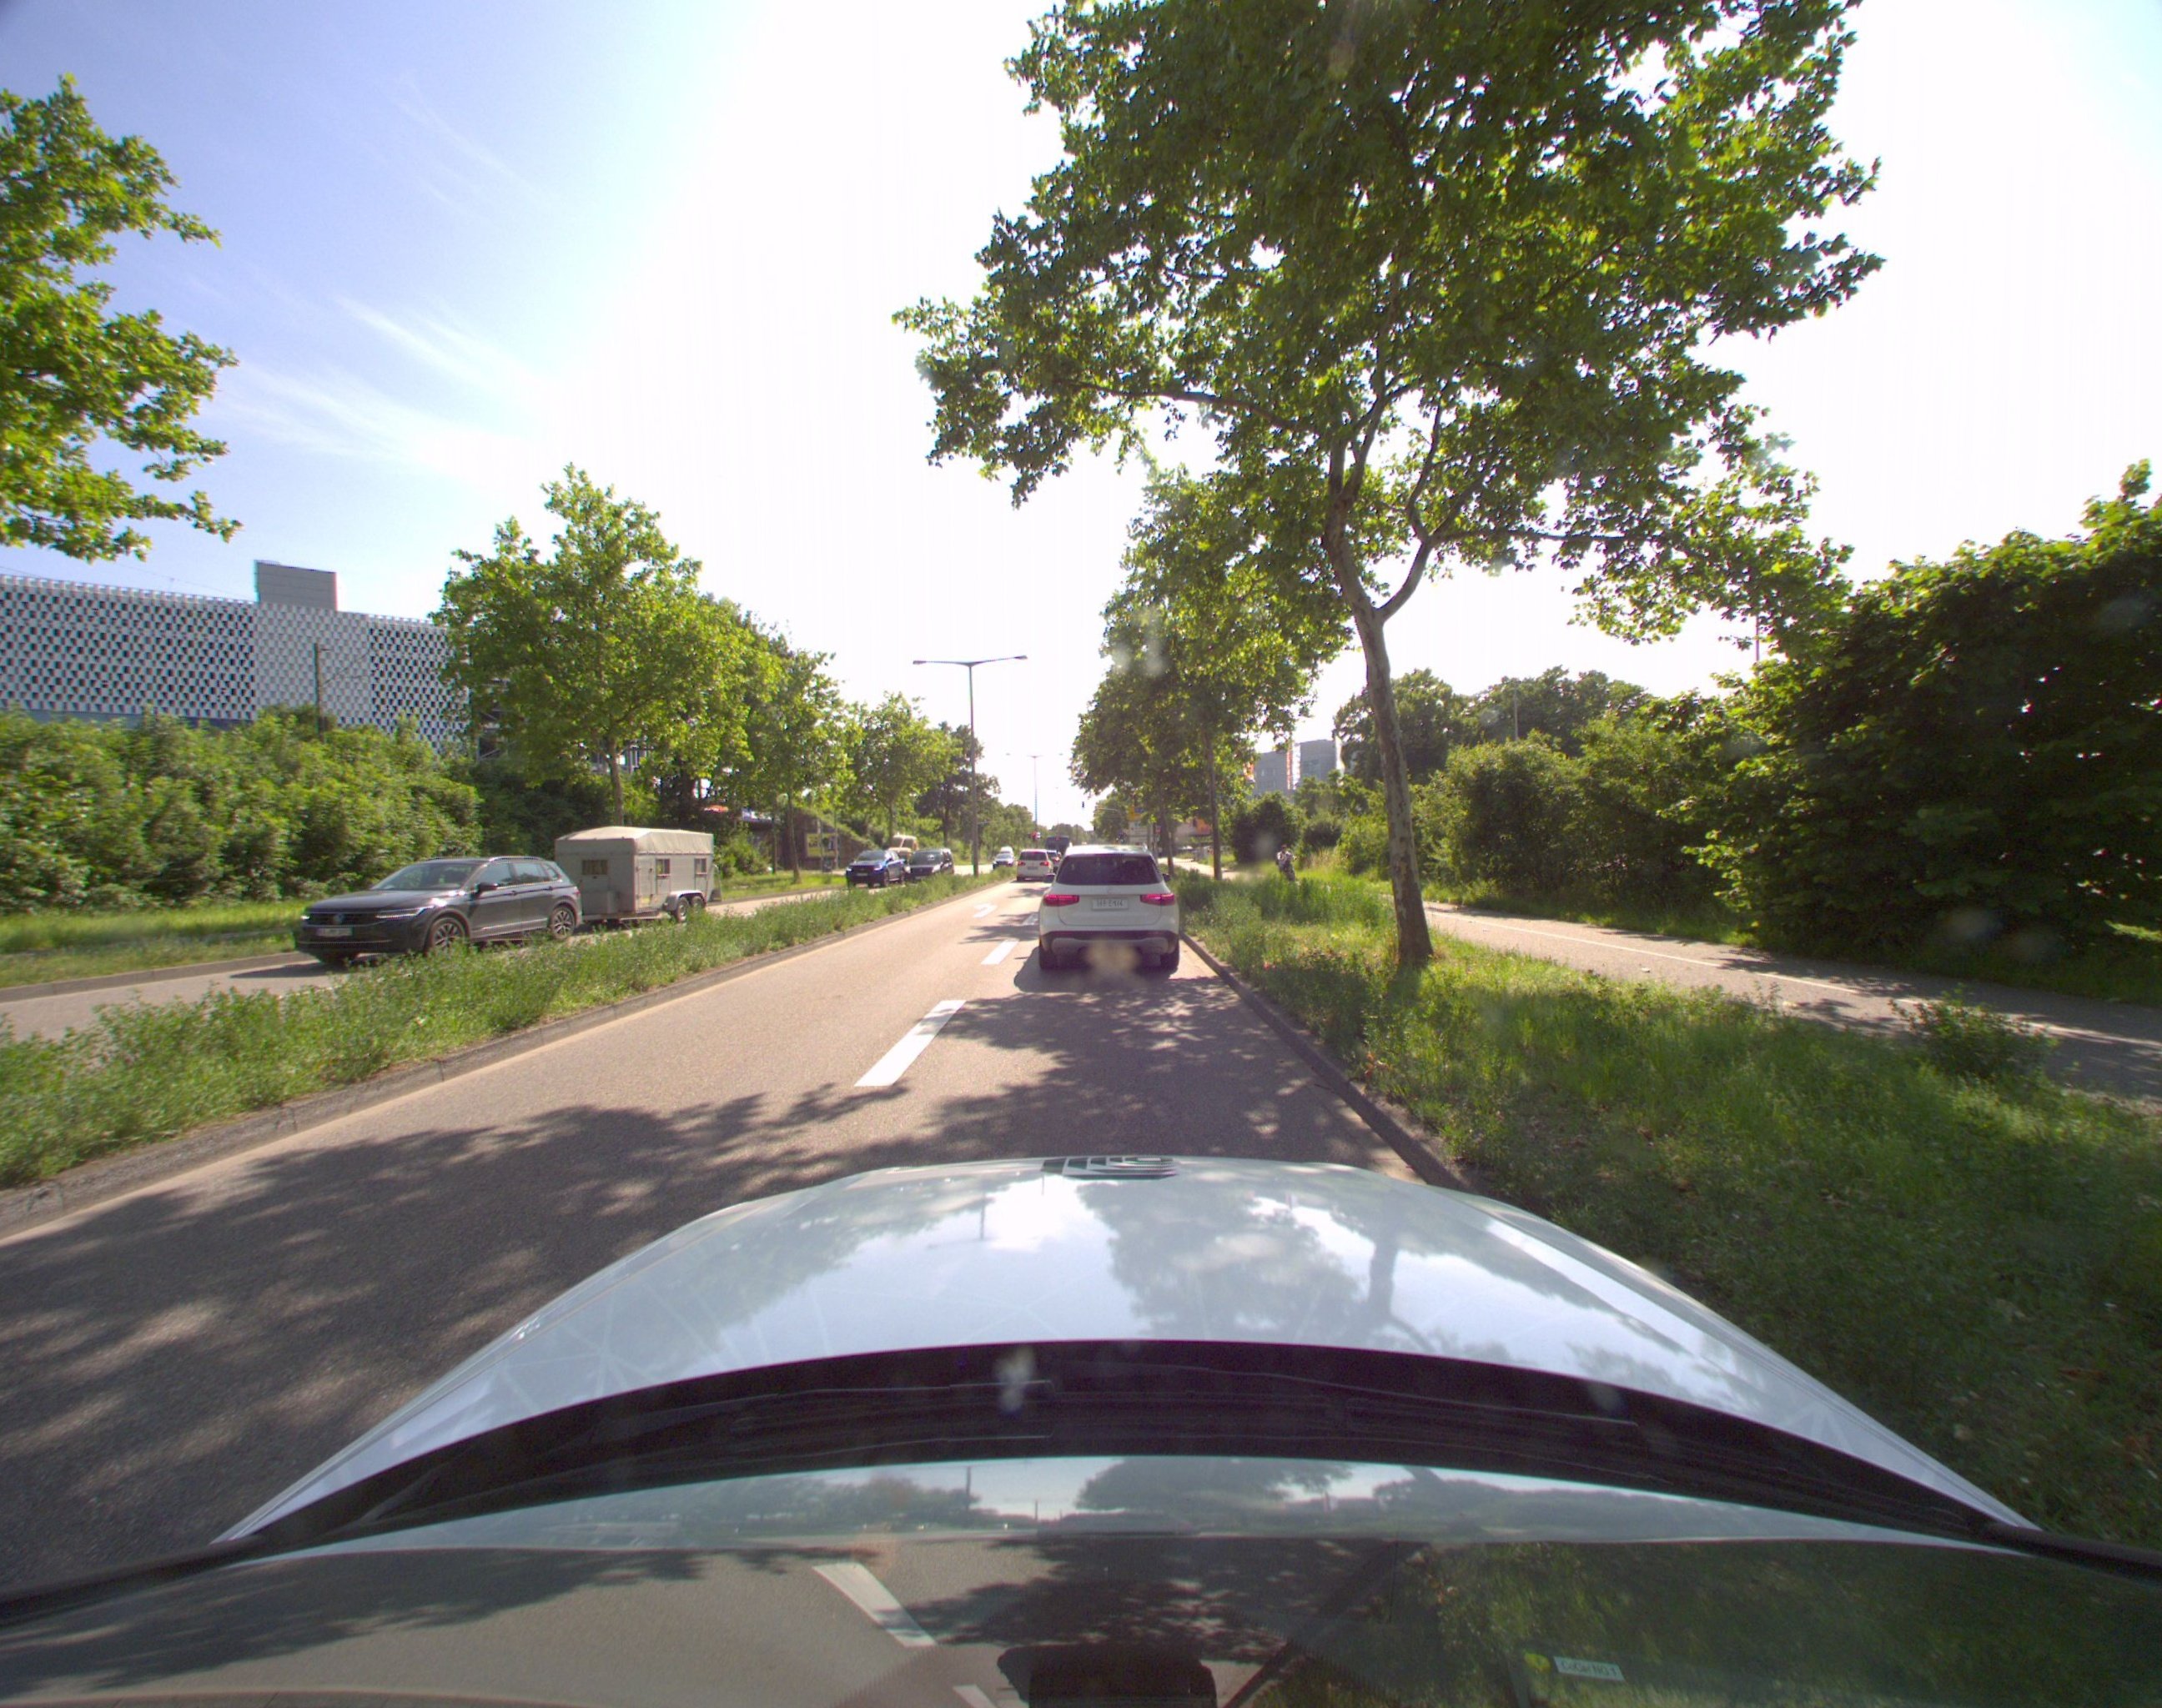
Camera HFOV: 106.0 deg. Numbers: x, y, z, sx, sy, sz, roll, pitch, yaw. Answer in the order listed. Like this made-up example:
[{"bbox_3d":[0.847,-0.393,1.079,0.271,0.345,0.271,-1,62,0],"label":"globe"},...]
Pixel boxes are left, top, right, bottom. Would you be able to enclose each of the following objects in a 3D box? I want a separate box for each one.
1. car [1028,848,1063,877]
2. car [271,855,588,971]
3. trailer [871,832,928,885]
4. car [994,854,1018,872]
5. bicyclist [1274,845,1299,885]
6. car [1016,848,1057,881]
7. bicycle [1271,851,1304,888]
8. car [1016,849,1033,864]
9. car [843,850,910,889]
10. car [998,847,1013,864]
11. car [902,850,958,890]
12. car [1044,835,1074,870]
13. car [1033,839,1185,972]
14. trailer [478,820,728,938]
[{"bbox_3d":[-2.074,0.496,48.458,1.765,1.647,4.086,0,0,2],"label":"car"},{"bbox_3d":[-10.530,0.836,13.696,1.709,1.622,4.363,-1,0,2],"label":"car"},{"bbox_3d":[-9.809,0.247,44.456,1.873,2.744,4.830,0,0,2],"label":"trailer"},{"bbox_3d":[-6.487,0.733,70.422,1.597,1.472,3.791,0,0,2],"label":"car"},{"bbox_3d":[7.642,0.394,30.276,0.701,1.477,1.010,0,0,2],"label":"bicyclist"},{"bbox_3d":[-2.289,0.519,42.593,1.765,1.647,4.354,0,0,2],"label":"car"},{"bbox_3d":[7.621,0.560,30.140,0.720,1.299,2.096,0,0,2],"label":"bicycle"},{"bbox_3d":[-7.463,0.296,107.190,1.988,1.882,3.998,0,0,-1],"label":"car"},{"bbox_3d":[-9.956,0.717,40.011,1.758,1.789,5.378,0,0,2],"label":"car"},{"bbox_3d":[-10.865,0.242,117.271,1.990,2.418,5.131,-1,0,-4],"label":"car"},{"bbox_3d":[-7.150,0.730,38.911,1.724,1.809,4.234,0,0,2],"label":"car"},{"bbox_3d":[-1.708,-0.142,64.541,2.073,2.656,4.876,0,0,2],"label":"car"},{"bbox_3d":[0.328,0.621,11.899,1.848,1.607,3.999,0,0,-1],"label":"car"},{"bbox_3d":[-10.534,0.499,18.675,2.300,2.265,5.540,-1,0,2],"label":"trailer"}]
